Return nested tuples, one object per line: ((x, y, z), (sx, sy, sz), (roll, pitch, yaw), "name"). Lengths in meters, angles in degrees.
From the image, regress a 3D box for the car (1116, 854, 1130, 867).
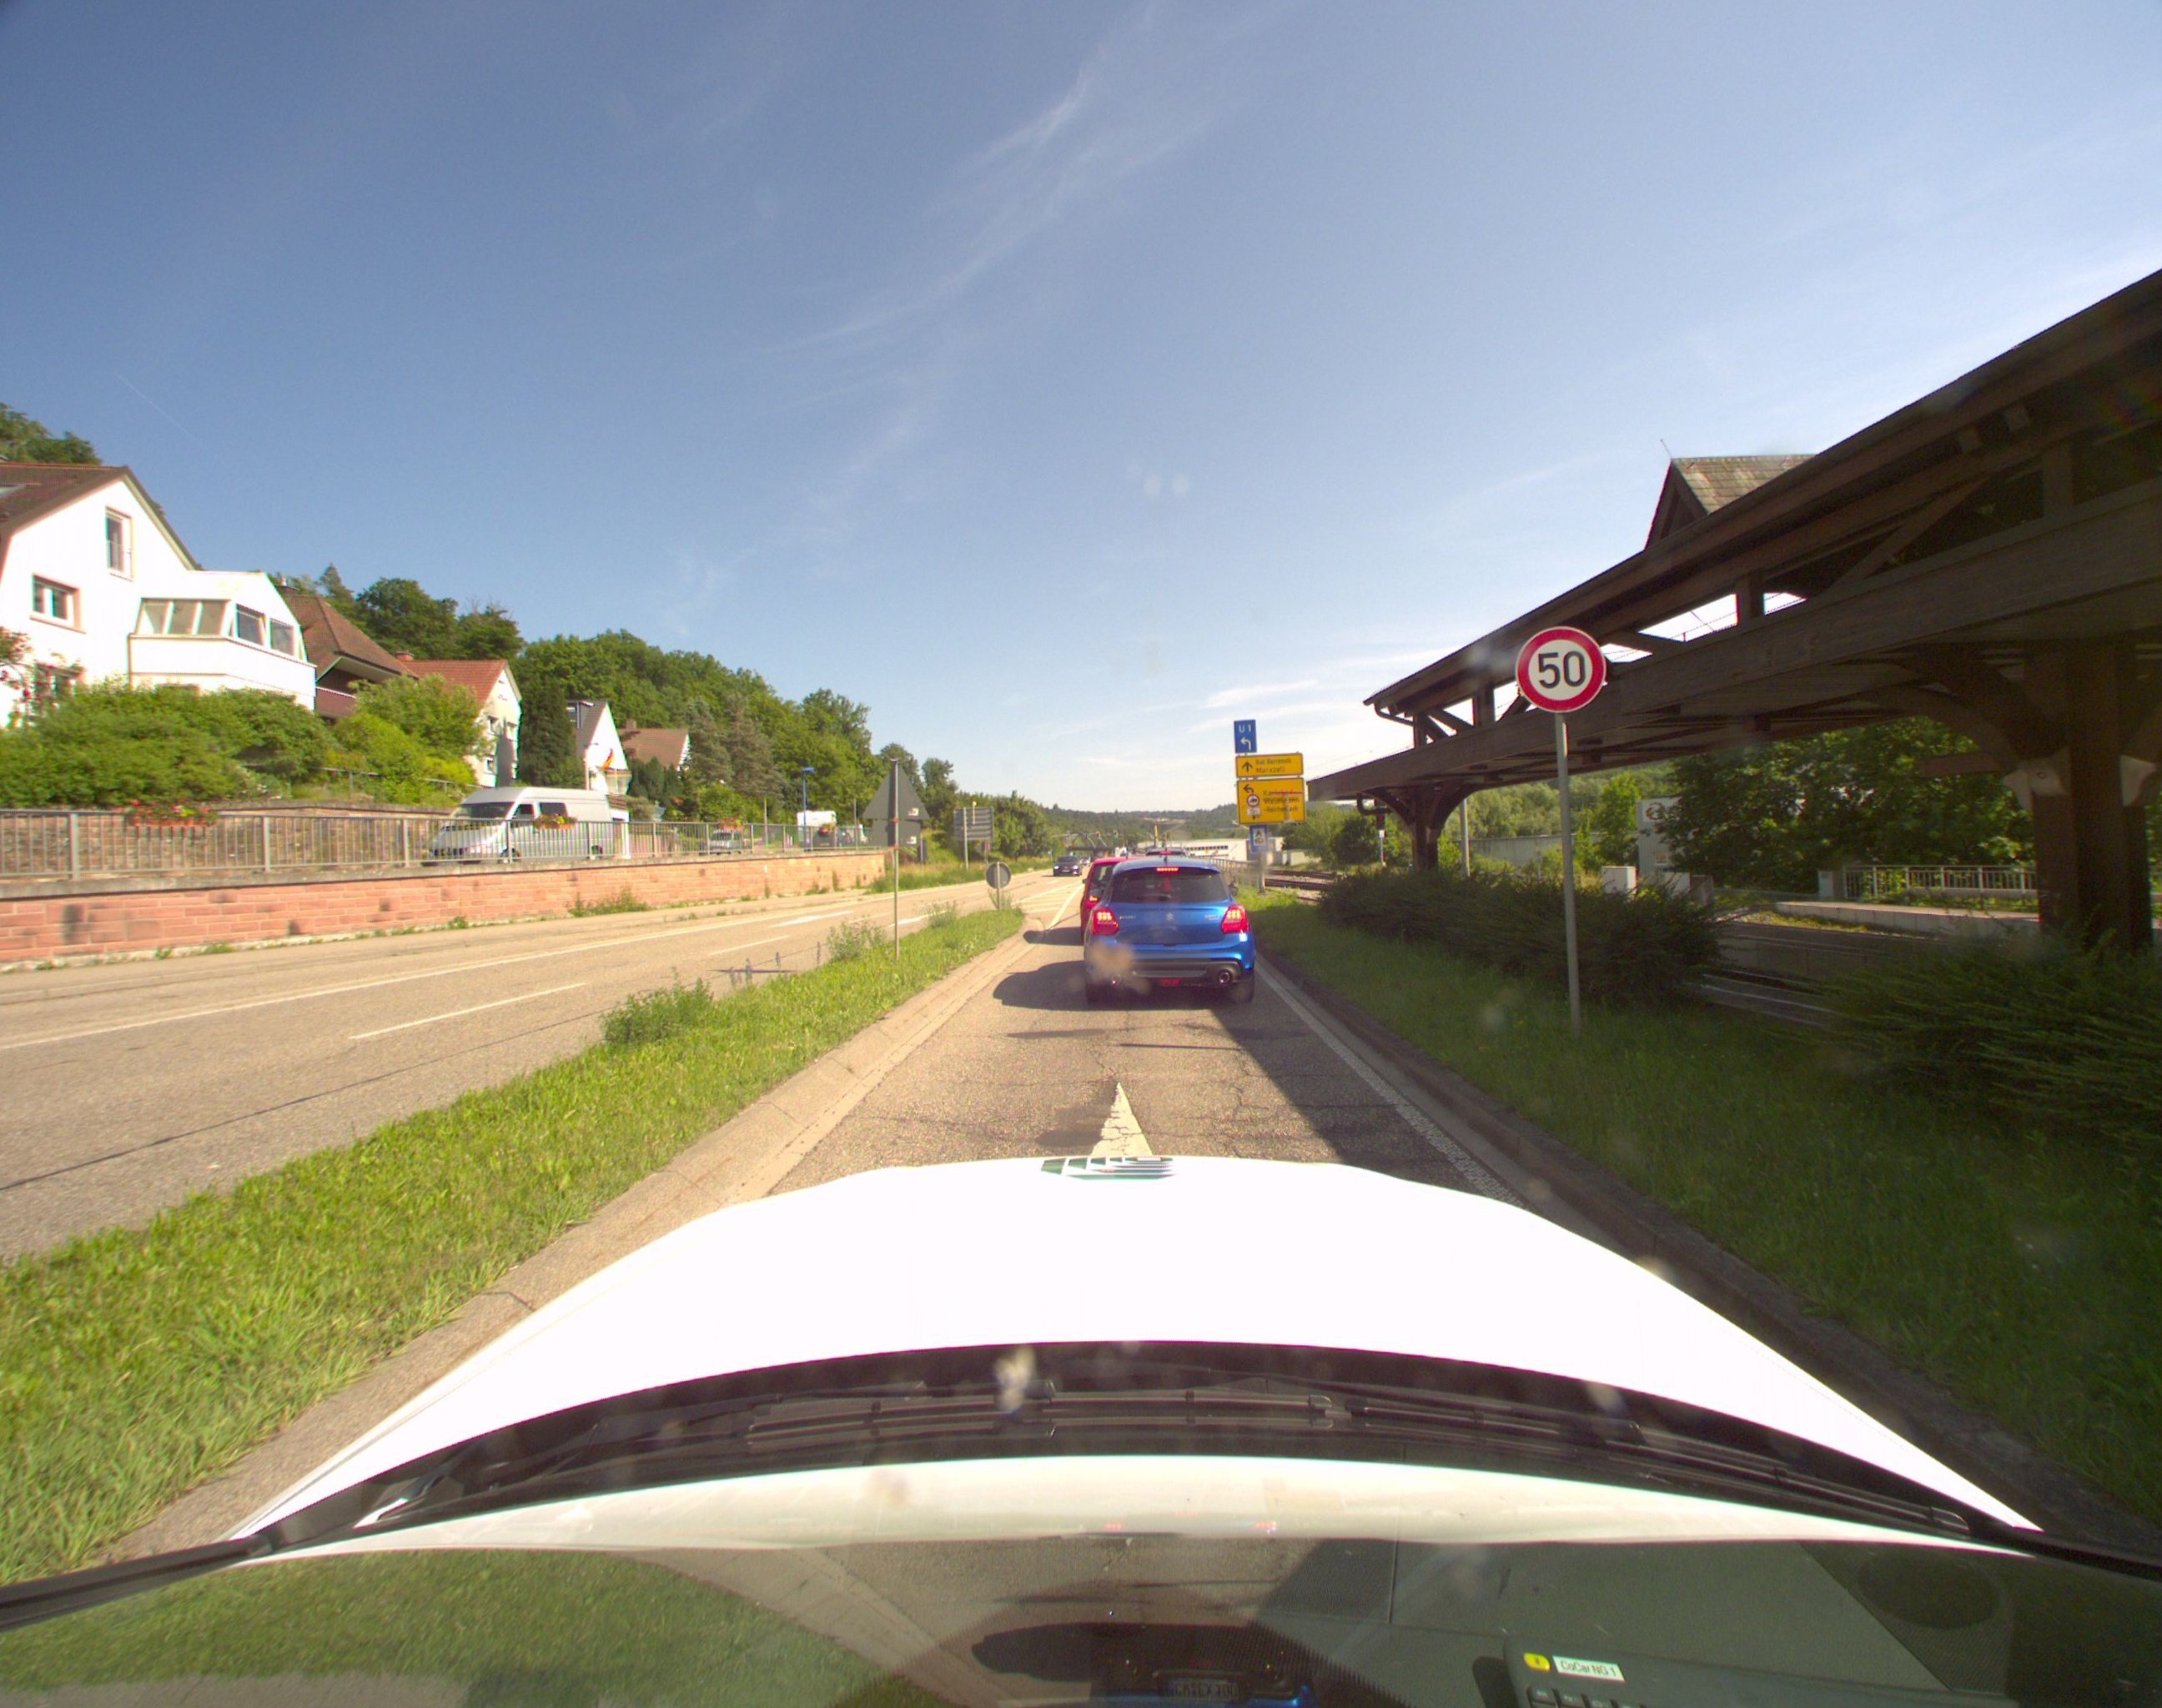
((6.191, 0.939, 119.962), (1.985, 1.816, 4.003), (0, 1, 3), "car")

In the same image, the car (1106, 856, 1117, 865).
((5.783, 1.188, 153.635), (1.985, 1.554, 4.218), (0, 0, 3), "car")

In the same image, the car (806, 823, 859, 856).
((-14.968, -0.888, 49.246), (2.016, 1.920, 4.725), (0, 1, -4), "car")

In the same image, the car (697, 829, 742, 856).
((-23.445, -0.729, 53.014), (1.897, 1.629, 3.982), (-1, 0, -13), "car")

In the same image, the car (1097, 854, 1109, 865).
((3.869, 0.974, 142.969), (1.985, 1.783, 4.003), (0, 0, 3), "car")

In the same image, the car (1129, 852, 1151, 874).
((5.715, 0.881, 79.493), (1.985, 2.013, 4.003), (0, 1, 3), "car")

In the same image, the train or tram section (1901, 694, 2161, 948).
((15.692, -0.410, 8.214), (2.747, 3.364, 12.047), (0, 0, 0), "train or tram section")

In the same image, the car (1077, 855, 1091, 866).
((0.449, 0.942, 116.123), (1.664, 1.441, 3.845), (-1, 0, 4), "car")

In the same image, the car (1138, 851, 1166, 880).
((5.277, 0.830, 60.842), (1.985, 2.013, 4.003), (0, 1, 3), "car")

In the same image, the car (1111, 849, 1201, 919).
((1.868, 0.672, 20.687), (1.984, 1.531, 4.607), (-2, 0, 4), "car")

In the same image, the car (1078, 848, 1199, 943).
((1.098, 0.691, 15.443), (1.984, 1.571, 4.005), (0, 0, 4), "car")

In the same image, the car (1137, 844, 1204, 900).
((2.863, 0.525, 26.739), (1.984, 1.686, 4.503), (0, 0, 4), "car")

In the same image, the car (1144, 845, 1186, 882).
((4.146, 0.421, 40.648), (1.984, 1.736, 4.005), (0, 0, 4), "car")

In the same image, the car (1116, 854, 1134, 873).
((4.902, 1.043, 90.963), (1.985, 2.013, 4.003), (0, 1, 3), "car")

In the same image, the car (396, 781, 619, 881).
((-15.758, -0.626, 22.928), (2.086, 2.444, 5.786), (0, 1, 1), "car")

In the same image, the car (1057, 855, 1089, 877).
((-0.548, 0.833, 59.218), (1.782, 1.470, 4.724), (-1, 0, 6), "car")

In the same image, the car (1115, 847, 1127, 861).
((6.629, 0.022, 134.470), (1.985, 2.144, 4.723), (0, 0, 3), "car")

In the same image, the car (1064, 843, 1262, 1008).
((0.863, 0.684, 9.773), (1.861, 1.548, 4.002), (-1, 0, 2), "car")

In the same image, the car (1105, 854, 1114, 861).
((6.376, 0.756, 181.282), (1.986, 1.591, 4.002), (0, 0, 2), "car")
